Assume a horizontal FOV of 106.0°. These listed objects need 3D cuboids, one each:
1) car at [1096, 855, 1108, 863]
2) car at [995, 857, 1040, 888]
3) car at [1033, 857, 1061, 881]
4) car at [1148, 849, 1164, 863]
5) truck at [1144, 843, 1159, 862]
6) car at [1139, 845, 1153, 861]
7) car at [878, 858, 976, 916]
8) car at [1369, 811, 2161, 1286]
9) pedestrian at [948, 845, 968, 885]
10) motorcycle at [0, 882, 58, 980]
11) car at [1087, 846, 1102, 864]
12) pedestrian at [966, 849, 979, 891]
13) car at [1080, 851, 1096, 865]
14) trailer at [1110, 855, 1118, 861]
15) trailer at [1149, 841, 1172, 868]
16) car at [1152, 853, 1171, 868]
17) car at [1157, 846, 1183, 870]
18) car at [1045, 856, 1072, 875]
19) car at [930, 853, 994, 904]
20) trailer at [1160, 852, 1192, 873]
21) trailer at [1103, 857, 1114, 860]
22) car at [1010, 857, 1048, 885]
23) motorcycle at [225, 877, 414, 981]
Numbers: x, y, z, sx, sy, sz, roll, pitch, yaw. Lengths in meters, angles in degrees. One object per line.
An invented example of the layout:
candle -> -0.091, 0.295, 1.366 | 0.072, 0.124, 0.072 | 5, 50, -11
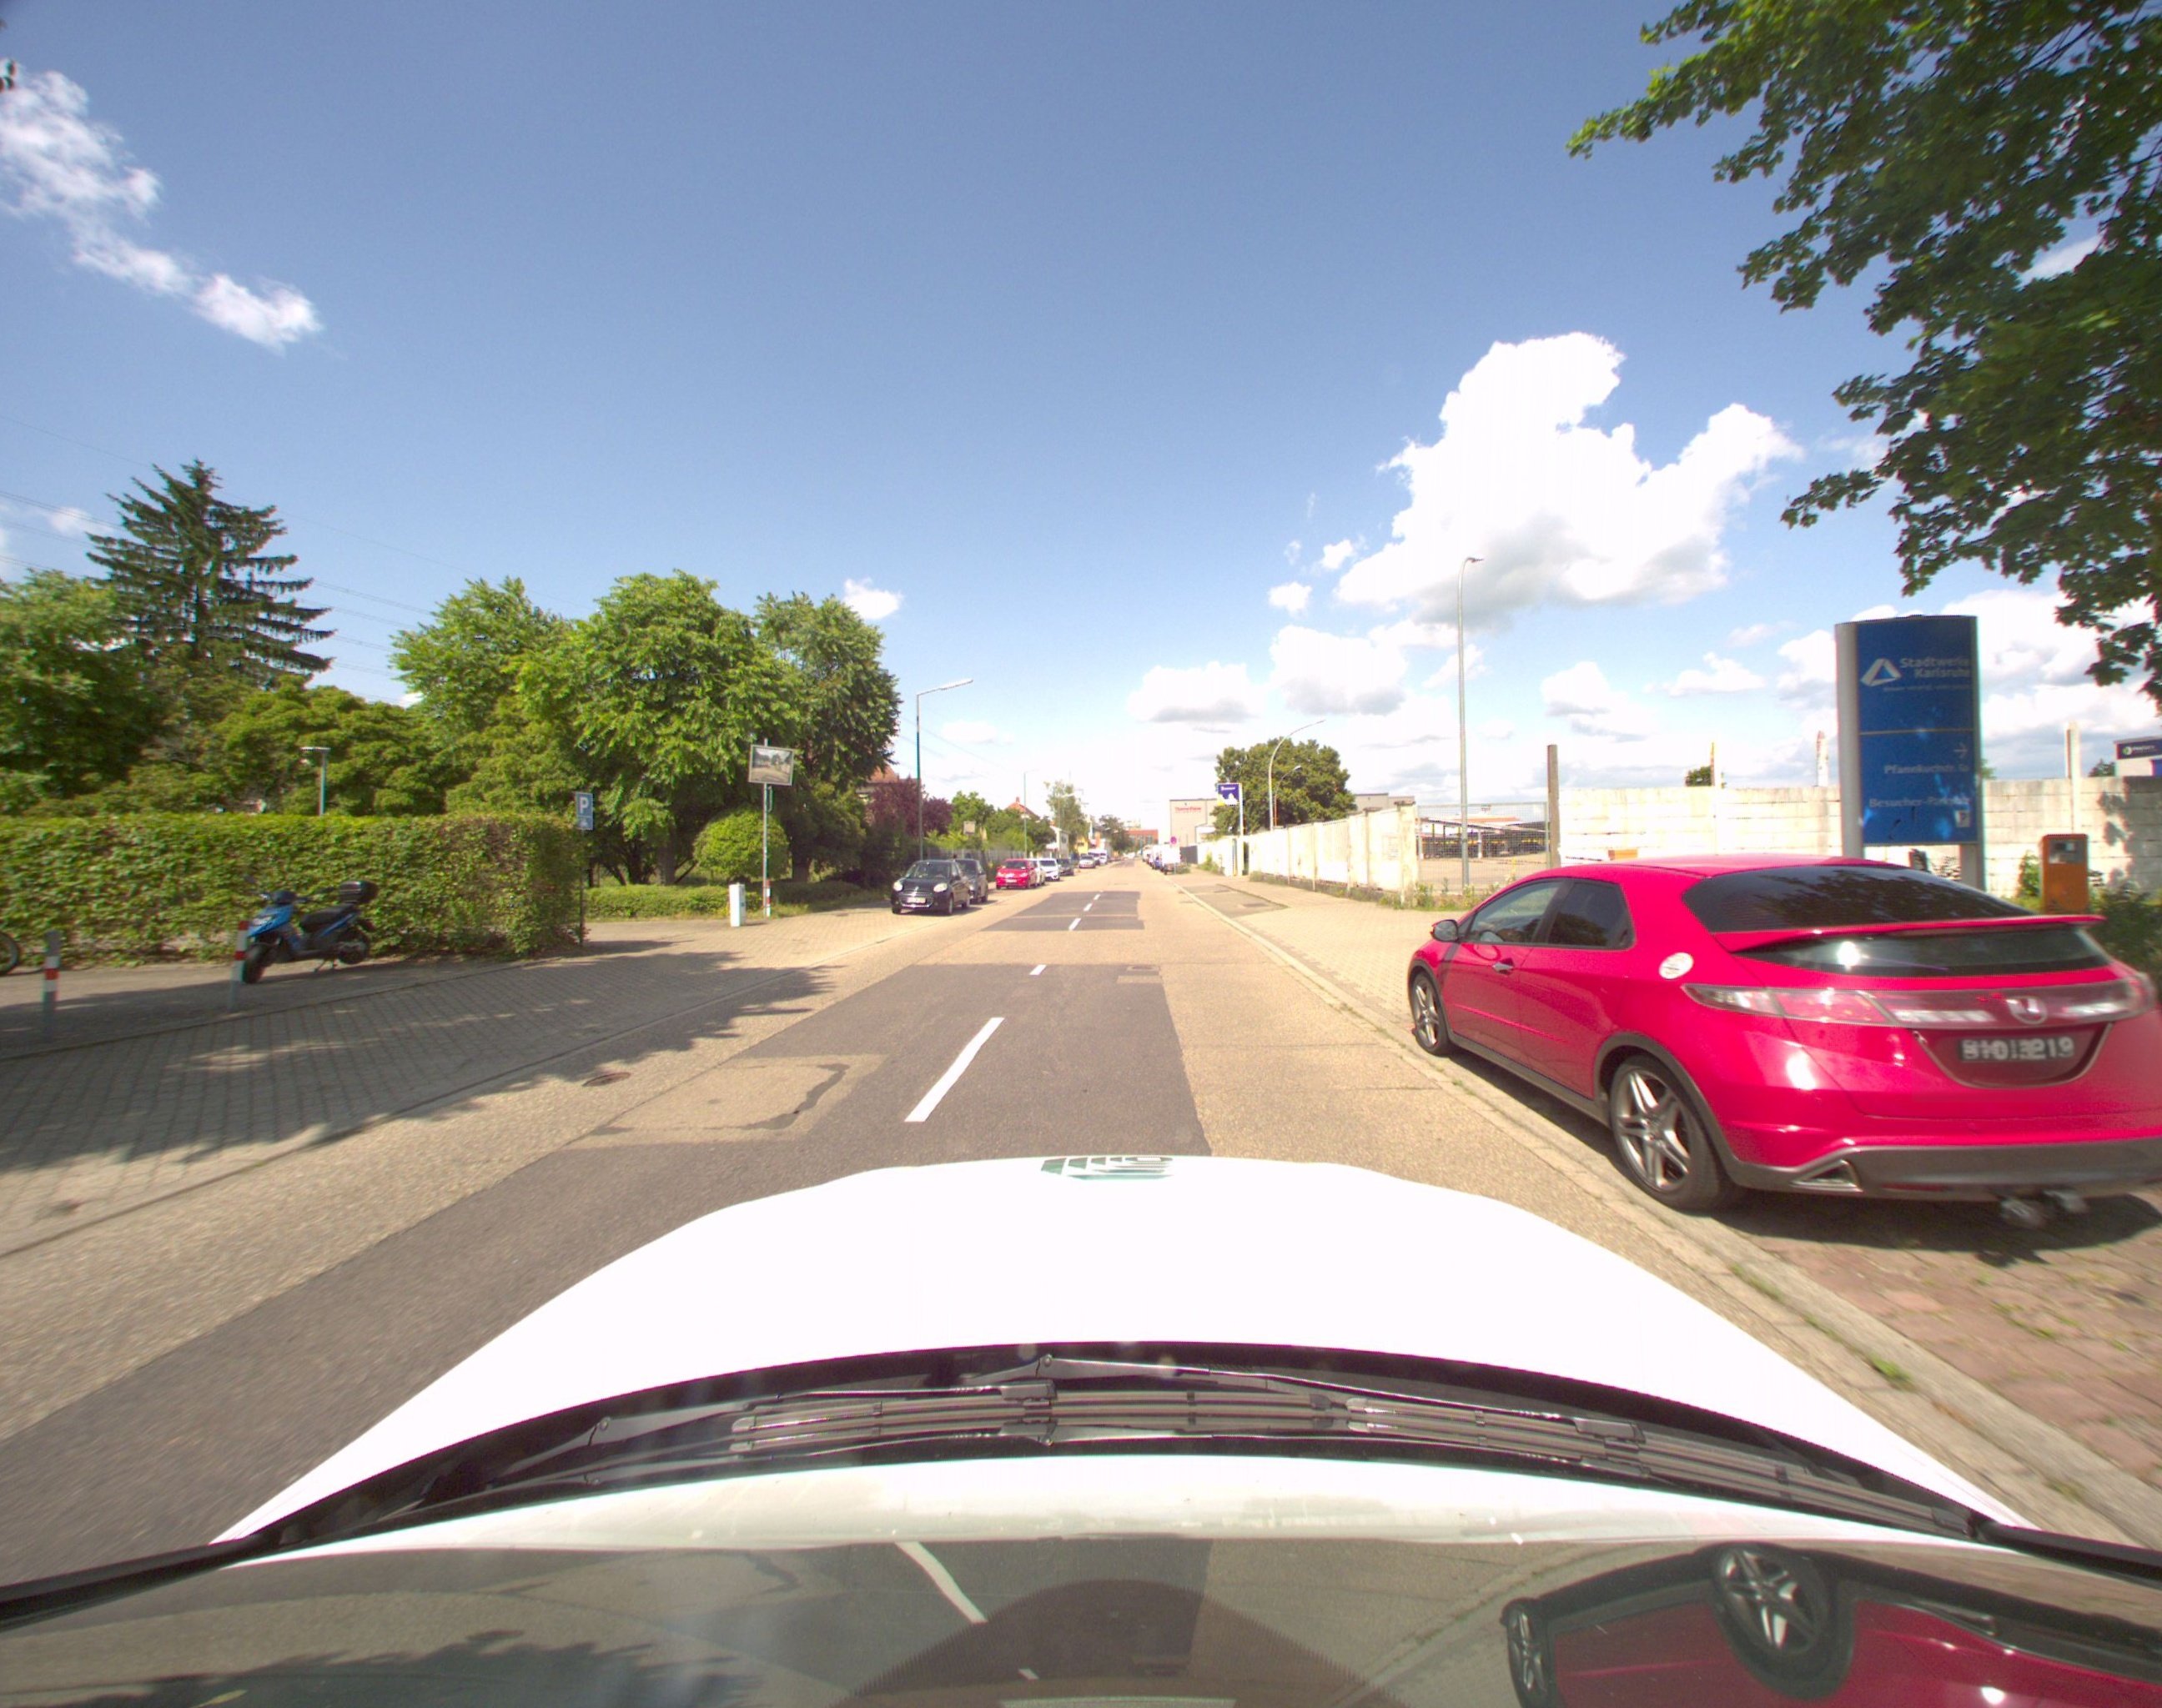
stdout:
car -> 3.762, 0.874, 145.957 | 1.787, 1.397, 4.508 | 0, -1, 5
car -> -3.126, 0.879, 40.692 | 1.658, 1.467, 3.748 | 0, -1, 5
car -> -2.252, 0.992, 54.550 | 1.615, 1.522, 4.176 | -1, 0, 1
car -> 10.138, 0.265, 110.320 | 1.927, 1.693, 4.684 | -4, 0, 4
truck -> 13.389, -0.313, 154.416 | 2.447, 3.293, 6.825 | -6, -1, 4
car -> 14.812, -0.149, 185.590 | 2.380, 3.363, 6.646 | -4, -1, 1
car -> -4.386, 0.892, 23.826 | 1.837, 1.508, 4.004 | 2, 0, 3
car -> 3.267, 0.659, 4.845 | 1.746, 1.486, 4.229 | -5, 0, 4
pedestrian -> -5.620, 0.506, 37.308 | 0.705, 1.801, 0.917 | -1, -1, 3
motorcycle -> -15.388, 1.085, 10.856 | 0.530, 1.350, 2.298 | -1, 0, 2
car -> 2.122, 0.177, 126.256 | 2.022, 2.558, 6.660 | 1, -1, 2
pedestrian -> -5.024, 0.744, 37.619 | 0.449, 1.894, 0.678 | -1, -1, 3
car -> 0.915, 0.550, 103.560 | 1.783, 1.719, 4.756 | 1, 0, 4
trailer -> 9.144, 1.015, 224.510 | 1.985, 1.556, 4.258 | -1, 0, 4
trailer -> 8.934, 0.073, 91.920 | 2.195, 2.737, 6.226 | -4, -1, 3
car -> 8.434, 0.682, 85.288 | 1.683, 1.461, 4.073 | -4, -1, 3
car -> 7.958, 0.378, 72.968 | 1.985, 2.014, 5.655 | -2, 0, 4
car -> -1.802, 0.928, 66.169 | 1.798, 1.418, 4.499 | 1, 0, 2
car -> -4.121, 0.827, 28.658 | 1.644, 1.645, 3.274 | 2, 0, 2
trailer -> 7.282, 0.669, 62.564 | 1.744, 1.417, 4.546 | -4, -1, -2
trailer -> 6.866, 1.127, 203.558 | 2.352, 0.893, 5.574 | 1, -1, 4
car -> -2.858, 0.940, 45.473 | 1.638, 1.477, 4.032 | -1, -1, 3
motorcycle -> -10.190, 0.948, 11.027 | 0.530, 1.220, 2.086 | -1, 0, 2
